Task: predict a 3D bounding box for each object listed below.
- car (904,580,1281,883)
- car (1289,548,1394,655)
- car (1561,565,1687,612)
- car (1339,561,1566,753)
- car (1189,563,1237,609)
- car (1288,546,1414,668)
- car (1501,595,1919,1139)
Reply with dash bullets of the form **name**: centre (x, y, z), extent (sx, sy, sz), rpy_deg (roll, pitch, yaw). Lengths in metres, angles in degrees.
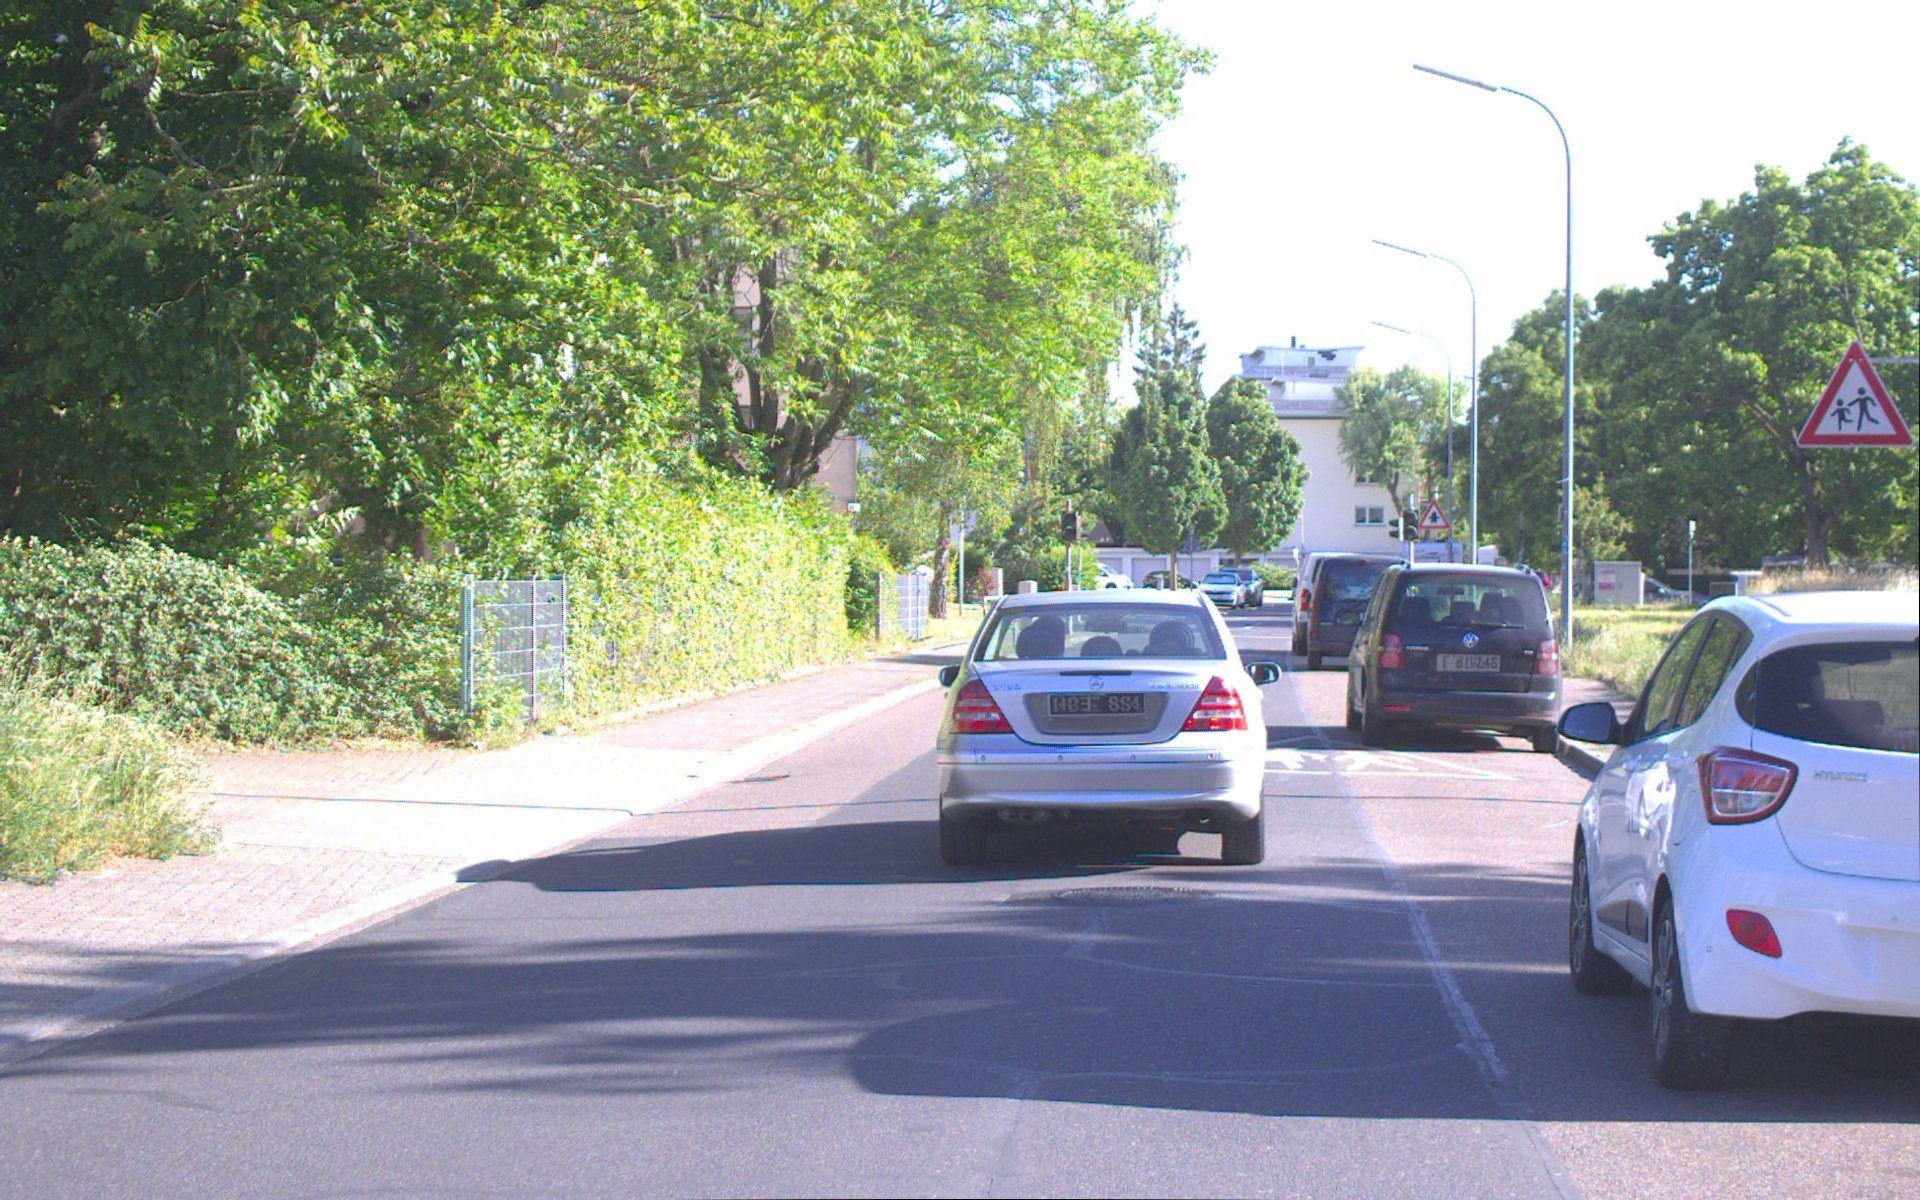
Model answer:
- **car**: centre (0.845, 0.627, 18.957), extent (1.816, 1.458, 4.360), rpy_deg (0, 1, 6)
- **car**: centre (7.050, 0.000, 63.782), extent (1.698, 1.845, 3.850), rpy_deg (2, 1, 4)
- **car**: centre (21.121, -0.362, 109.310), extent (3.706, 1.436, 1.698), rpy_deg (0, -1, 20)
- **car**: centre (4.449, 0.466, 31.530), extent (1.698, 1.605, 4.000), rpy_deg (1, 1, 3)
- **car**: centre (10.216, -0.546, 138.622), extent (1.885, 1.722, 3.999), rpy_deg (0, -1, 4)
- **car**: centre (6.041, 0.078, 53.425), extent (1.698, 1.753, 3.850), rpy_deg (2, 1, 4)
- **car**: centre (2.934, 0.757, 11.425), extent (1.722, 1.474, 3.740), rpy_deg (2, 0, 1)
